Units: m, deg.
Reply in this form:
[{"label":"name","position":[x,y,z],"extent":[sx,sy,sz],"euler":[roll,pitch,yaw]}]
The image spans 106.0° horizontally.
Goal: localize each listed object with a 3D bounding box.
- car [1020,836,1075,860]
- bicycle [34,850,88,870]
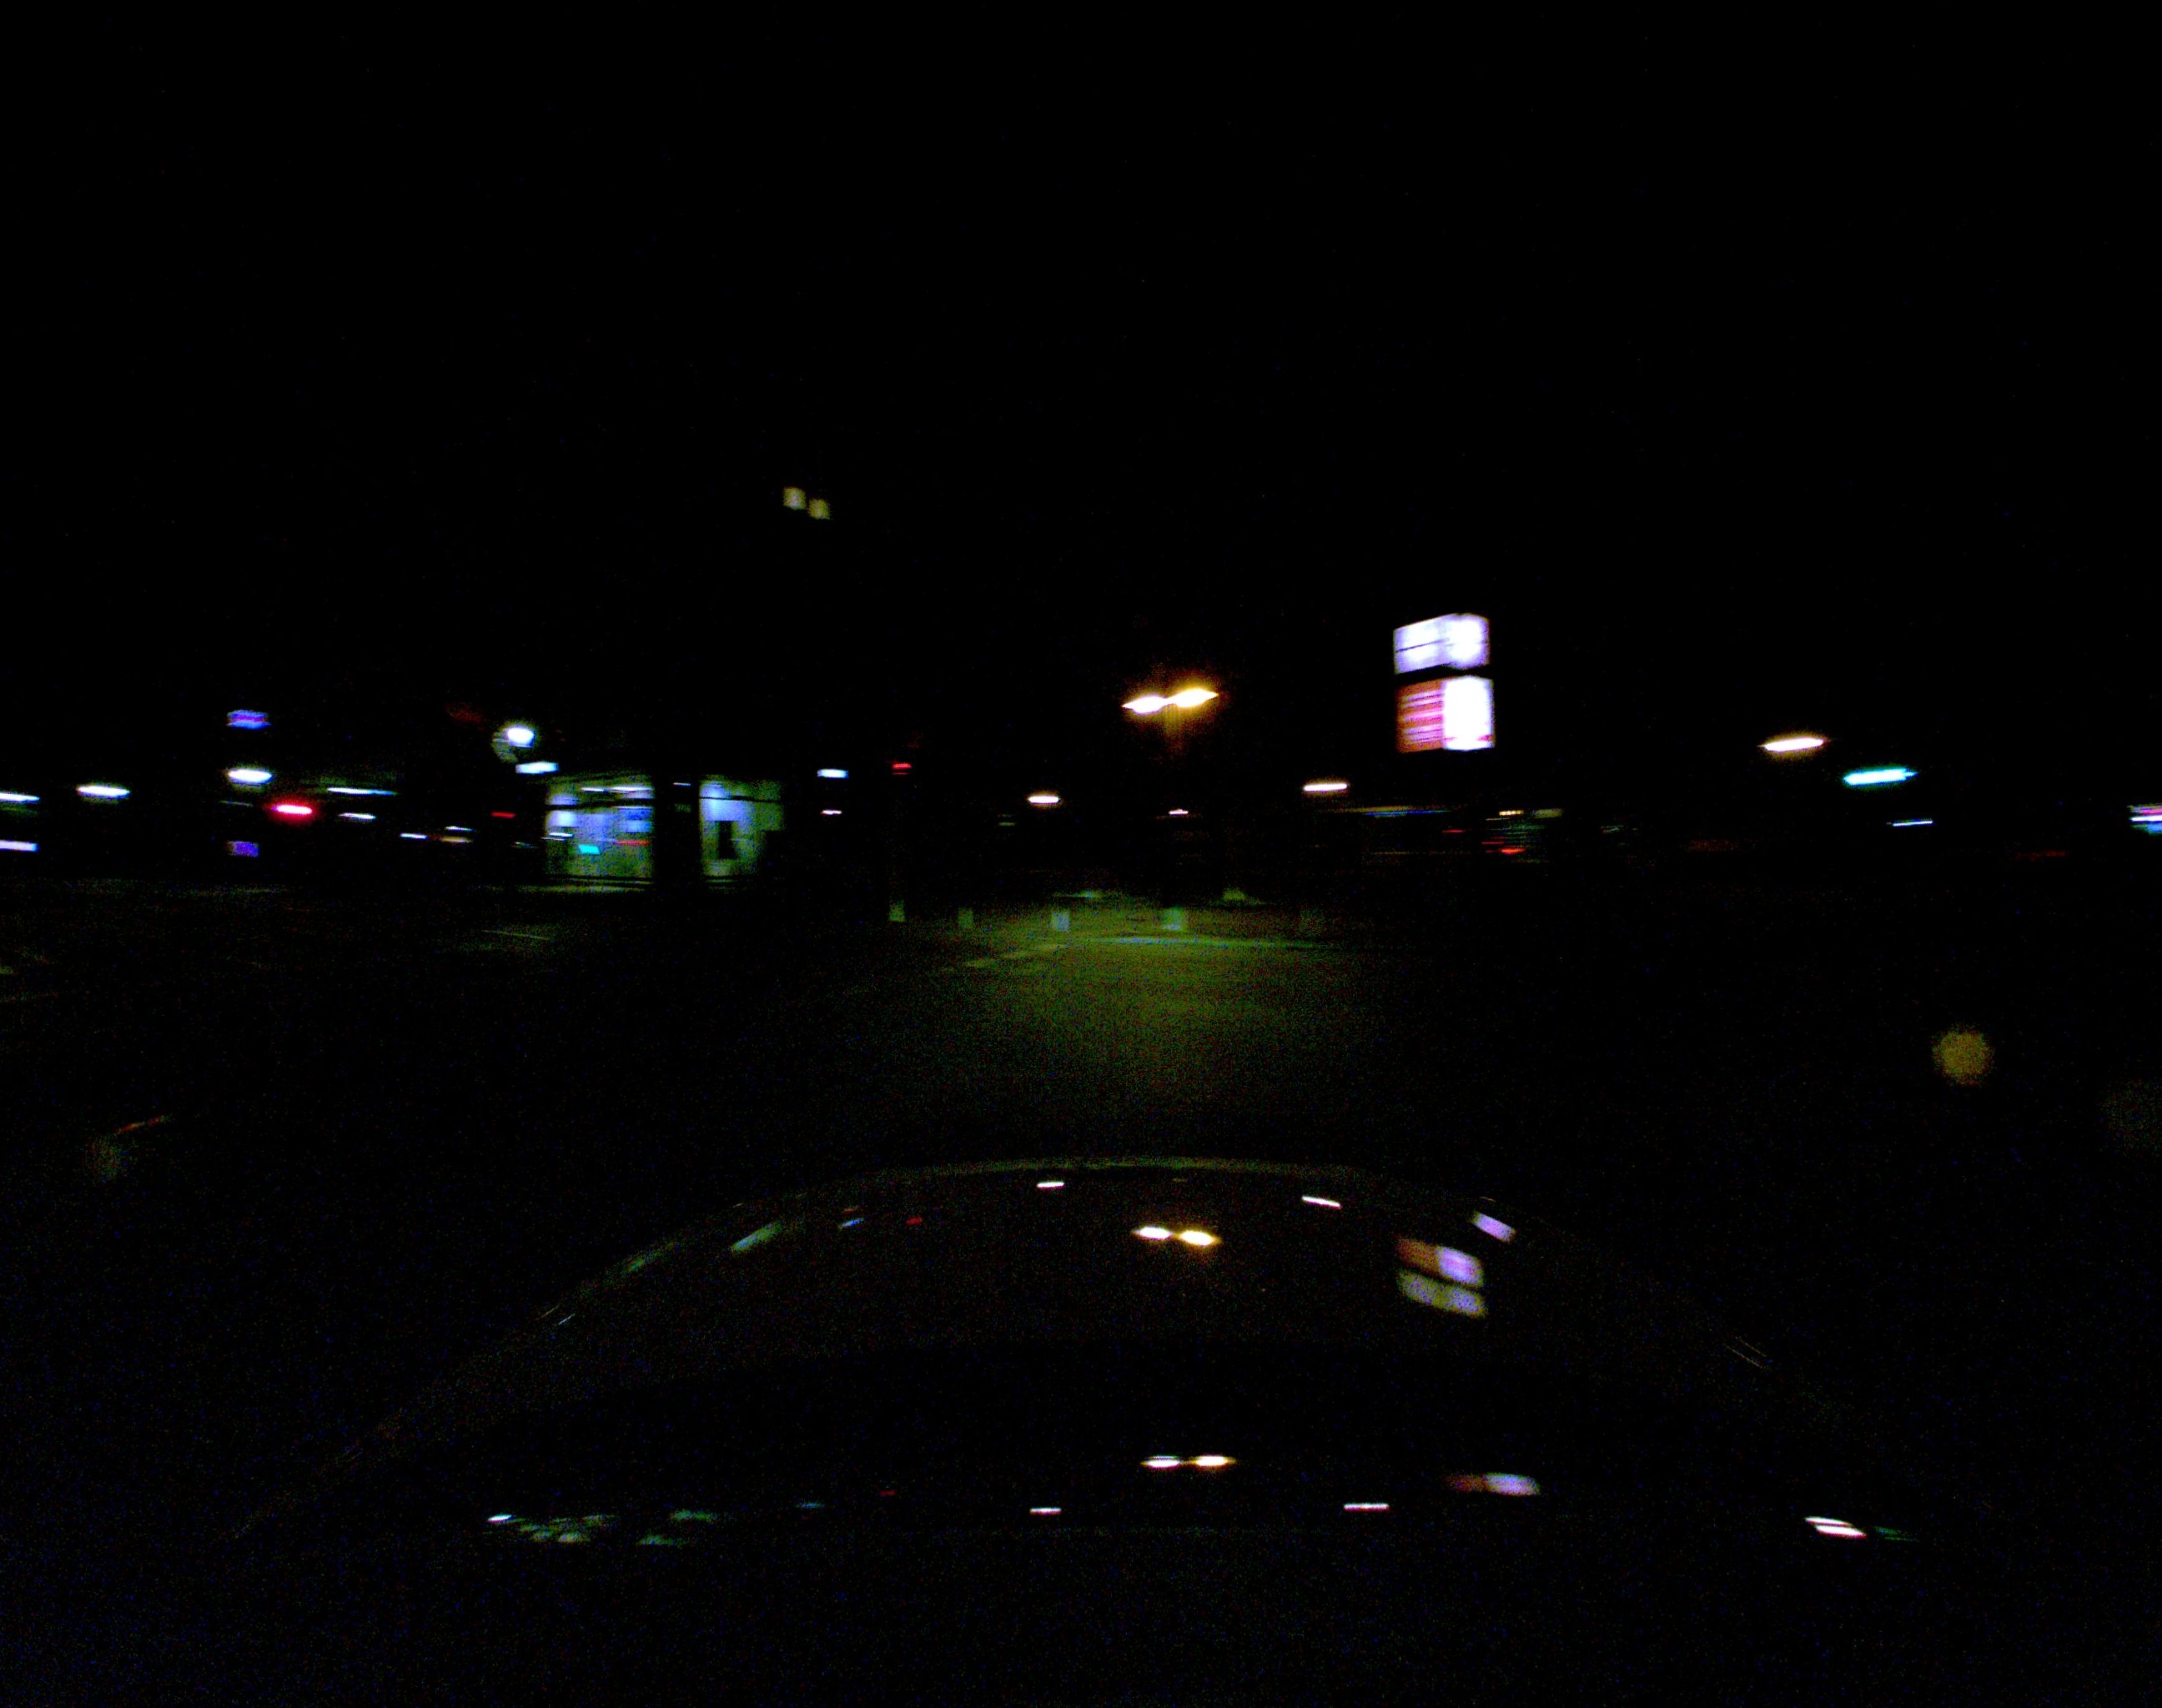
[{"label":"car","position":[-2.206,-0.415,55.041],"extent":[1.900,1.451,4.025],"euler":[1,3,28]},{"label":"bicycle","position":[-56.700,0.337,45.301],"extent":[0.649,1.062,1.760],"euler":[0,1,9]}]
